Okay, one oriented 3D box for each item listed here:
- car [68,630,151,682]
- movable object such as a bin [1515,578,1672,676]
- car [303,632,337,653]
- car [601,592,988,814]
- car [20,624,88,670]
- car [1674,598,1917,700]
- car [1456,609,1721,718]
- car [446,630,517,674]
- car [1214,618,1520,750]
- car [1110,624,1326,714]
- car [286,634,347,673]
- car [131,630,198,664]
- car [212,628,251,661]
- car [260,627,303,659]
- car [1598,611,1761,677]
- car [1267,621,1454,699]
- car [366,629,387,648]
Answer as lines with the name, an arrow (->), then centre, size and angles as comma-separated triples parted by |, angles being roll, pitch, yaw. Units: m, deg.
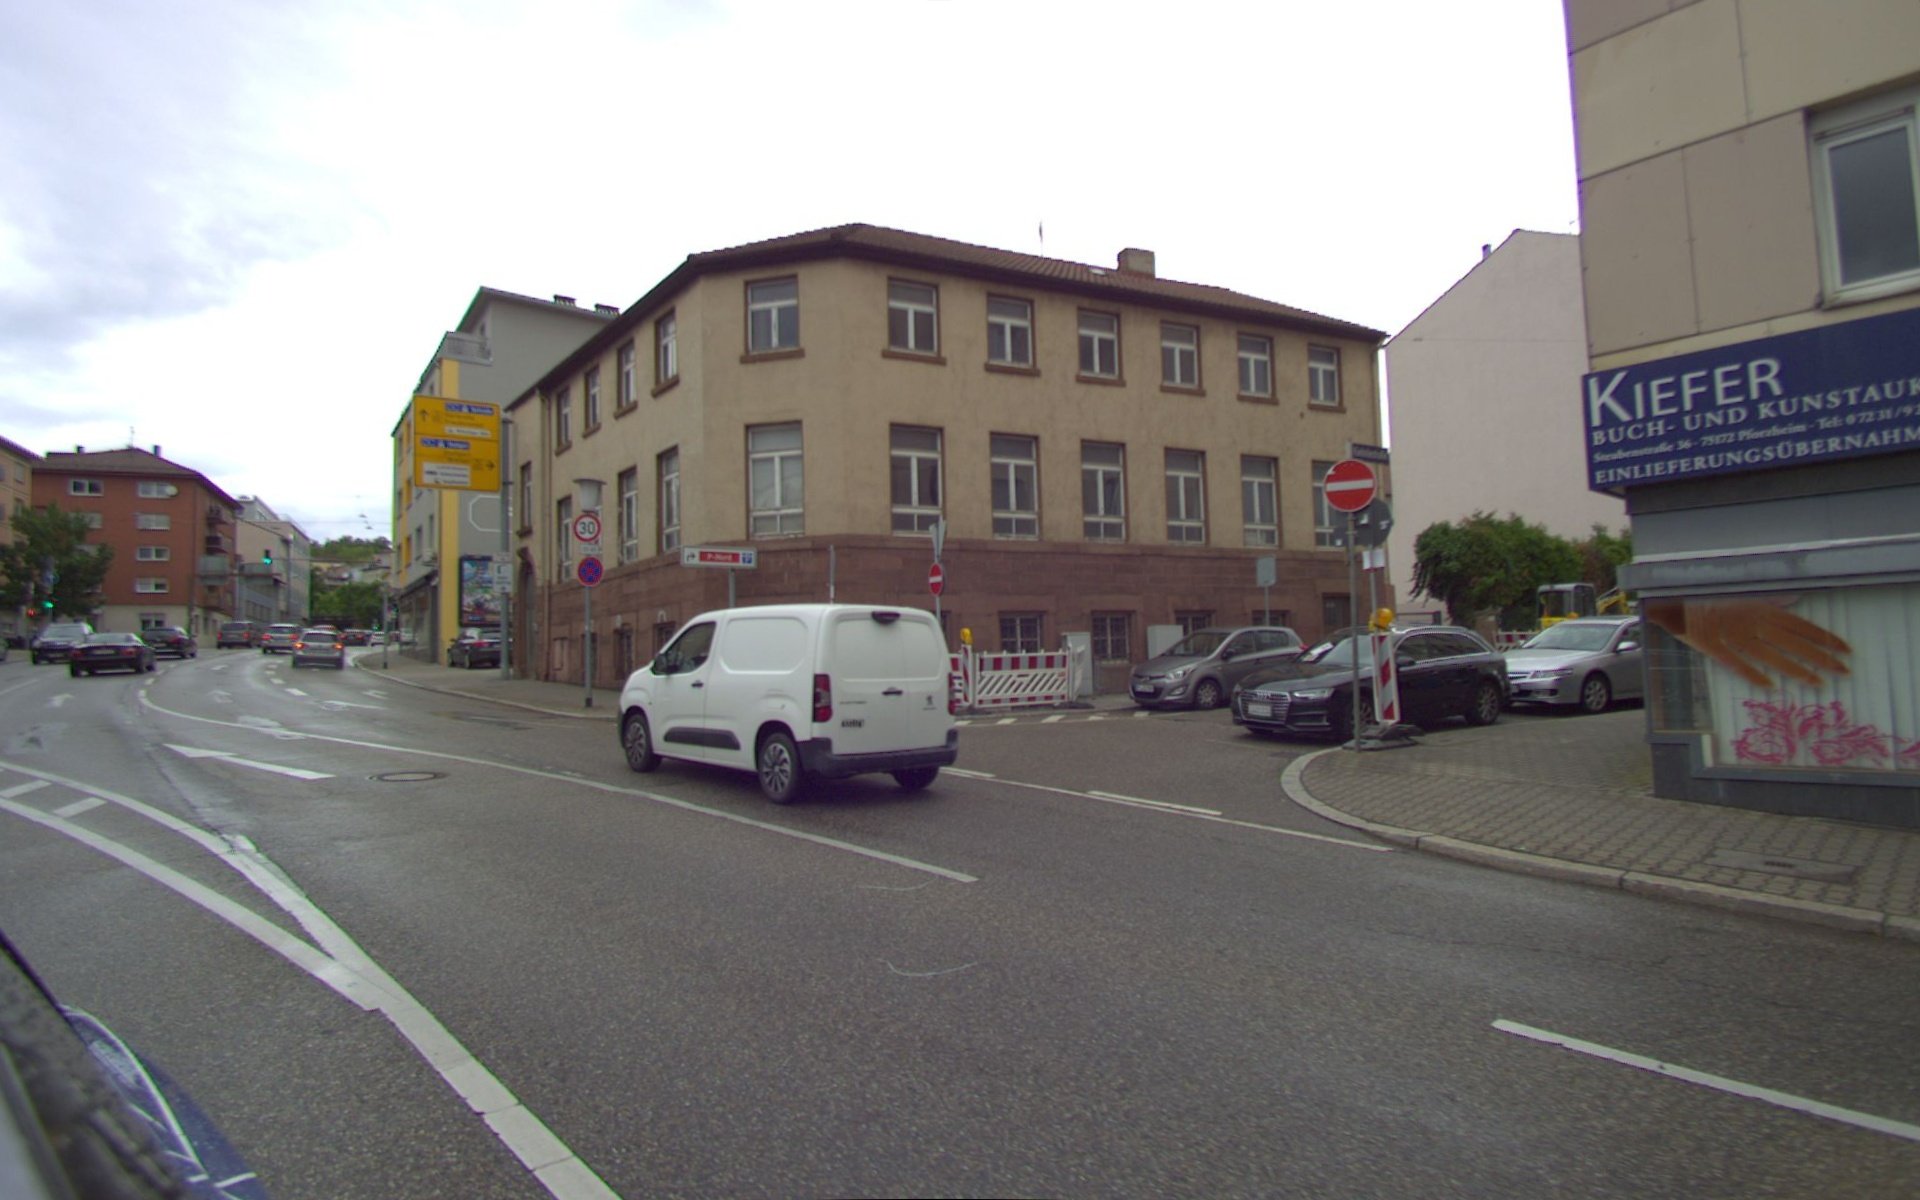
car -> -27.145, 1.745, 32.415 | 1.833, 1.465, 4.327 | -1, -1, -38
movable object such as a bin -> 17.072, 0.713, 27.261 | 3.931, 2.452, 1.759 | -1, -4, -30
car -> -46.604, 3.072, 73.680 | 1.833, 1.465, 4.329 | 2, -3, -35
car -> -1.882, 0.925, 10.485 | 1.839, 1.817, 4.269 | 3, -4, -44
car -> -39.077, 1.992, 43.715 | 1.819, 1.918, 3.773 | 1, -2, -37
car -> 14.732, 0.806, 17.843 | 3.931, 1.595, 1.759 | -1, -1, -26
car -> 10.152, 0.954, 16.337 | 3.931, 1.478, 1.759 | -1, -1, -26
car -> -17.892, 1.909, 37.779 | 1.832, 1.465, 3.973 | -2, -1, -33
car -> 5.727, 1.059, 14.090 | 4.291, 1.515, 1.758 | -1, -2, -33
car -> 4.943, 1.290, 19.314 | 3.748, 1.478, 1.759 | -1, -4, -30
car -> -26.130, 2.156, 41.034 | 1.833, 1.465, 4.329 | 4, -4, -35
car -> -35.766, 2.087, 45.599 | 1.832, 1.465, 4.330 | 2, -3, -32
car -> -44.125, 2.676, 61.351 | 1.819, 1.918, 3.774 | 1, -2, -35
car -> -37.149, 2.337, 55.354 | 1.833, 1.711, 4.329 | 2, -3, -35
car -> 18.206, 1.106, 25.593 | 3.931, 1.478, 1.759 | -1, -4, -30
car -> 8.659, 1.289, 21.900 | 3.453, 1.478, 1.759 | -1, -4, -24
car -> -62.239, 4.073, 107.953 | 1.818, 1.918, 3.776 | 1, -2, -31
